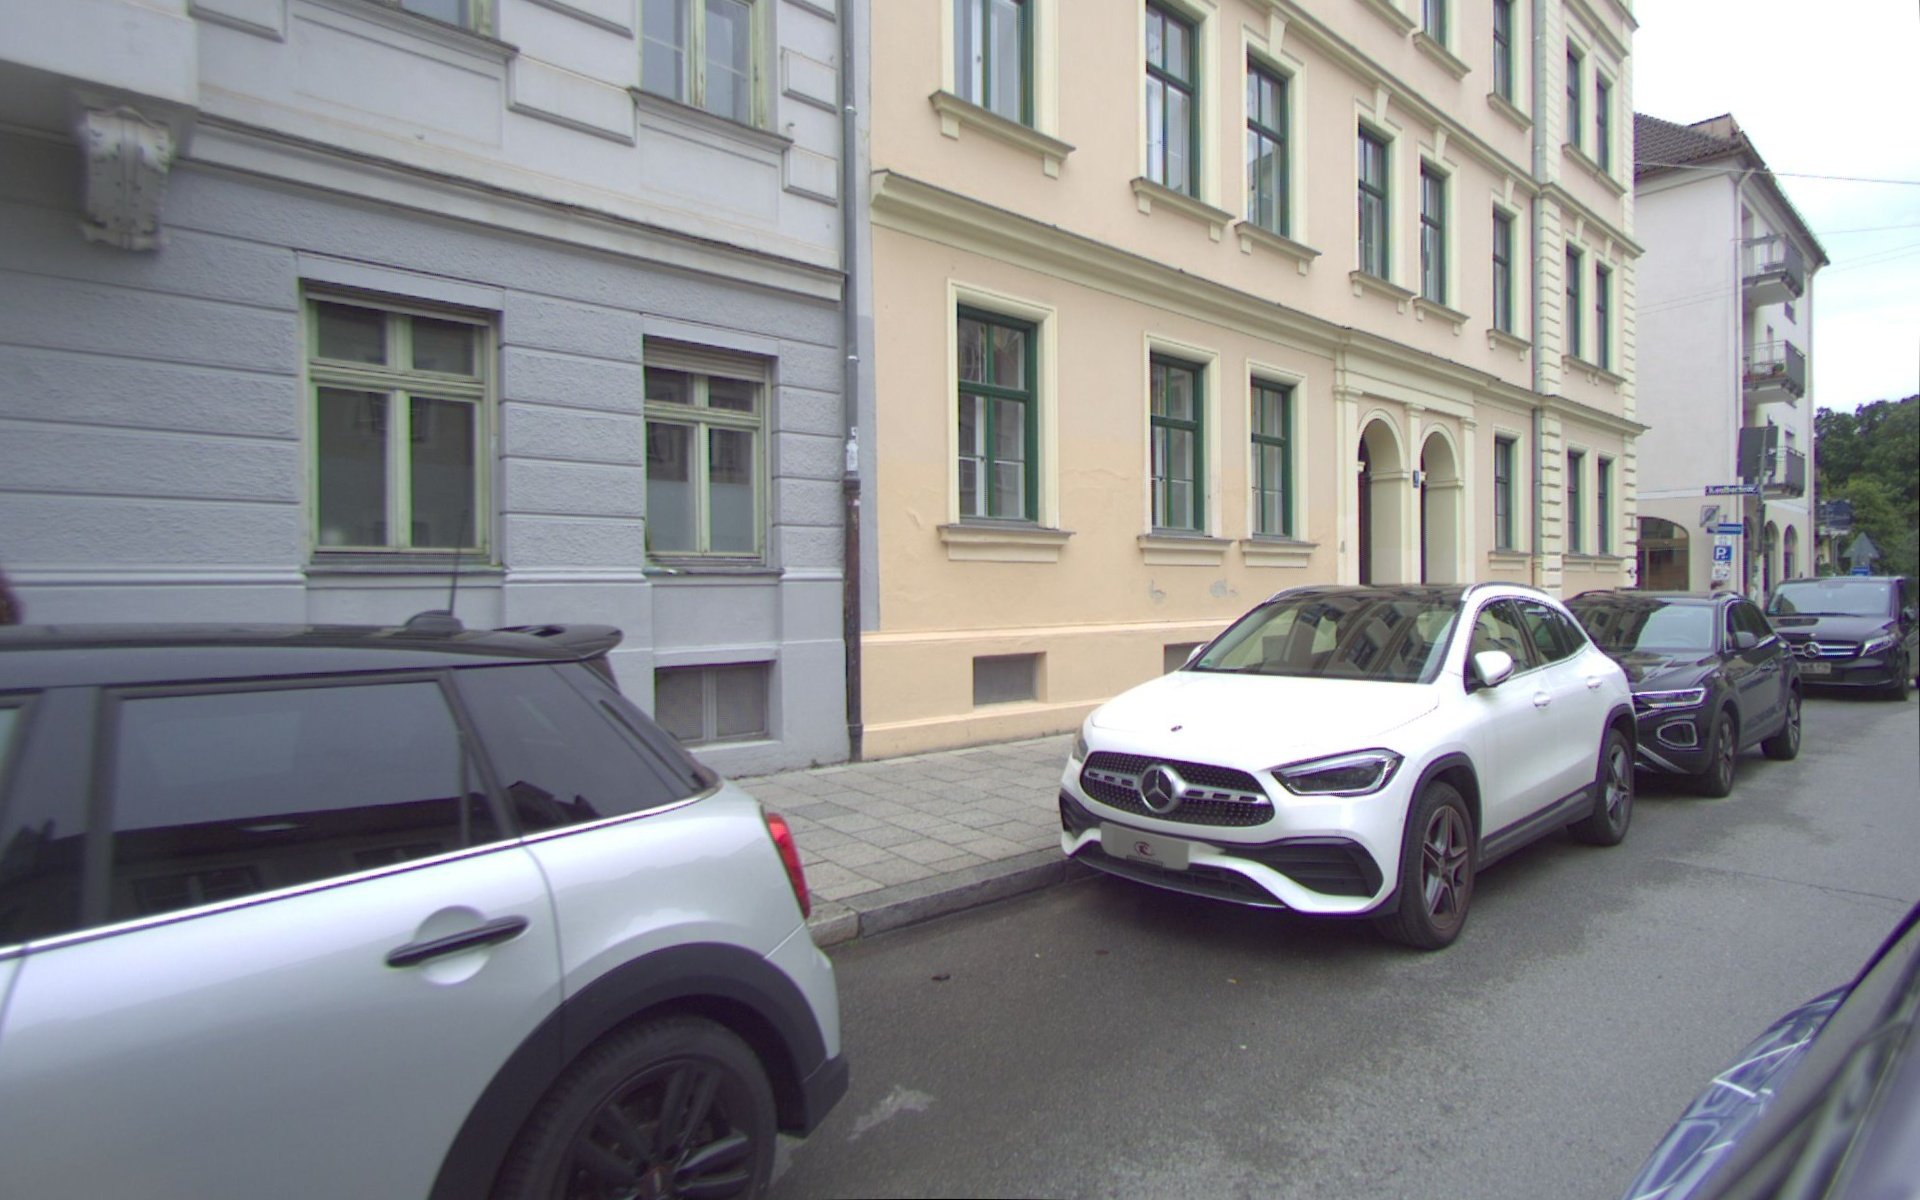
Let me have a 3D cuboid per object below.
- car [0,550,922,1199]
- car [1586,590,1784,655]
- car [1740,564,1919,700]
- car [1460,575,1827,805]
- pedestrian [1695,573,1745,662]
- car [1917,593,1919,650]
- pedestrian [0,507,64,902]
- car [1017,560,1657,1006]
[{"bbox_3d":[-2.056,0.699,1.759,1.717,1.529,3.873,0,0,45],"label":"car"},{"bbox_3d":[18.967,0.535,26.588,1.684,1.585,3.990,0,0,-44],"label":"car"},{"bbox_3d":[14.563,0.410,16.422,5.023,1.884,1.997,-1,0,-40],"label":"car"},{"bbox_3d":[6.191,0.600,8.982,4.071,1.586,1.720,-1,0,-41],"label":"car"},{"bbox_3d":[15.841,0.350,21.088,0.717,1.825,0.697,0,0,-42],"label":"pedestrian"},{"bbox_3d":[27.695,0.557,27.830,3.931,1.518,1.709,-1,0,-42],"label":"car"},{"bbox_3d":[-4.164,0.411,4.225,0.614,1.594,0.645,0,2,-44],"label":"pedestrian"},{"bbox_3d":[2.412,0.643,5.779,4.250,1.621,1.719,-1,0,-43],"label":"car"}]
